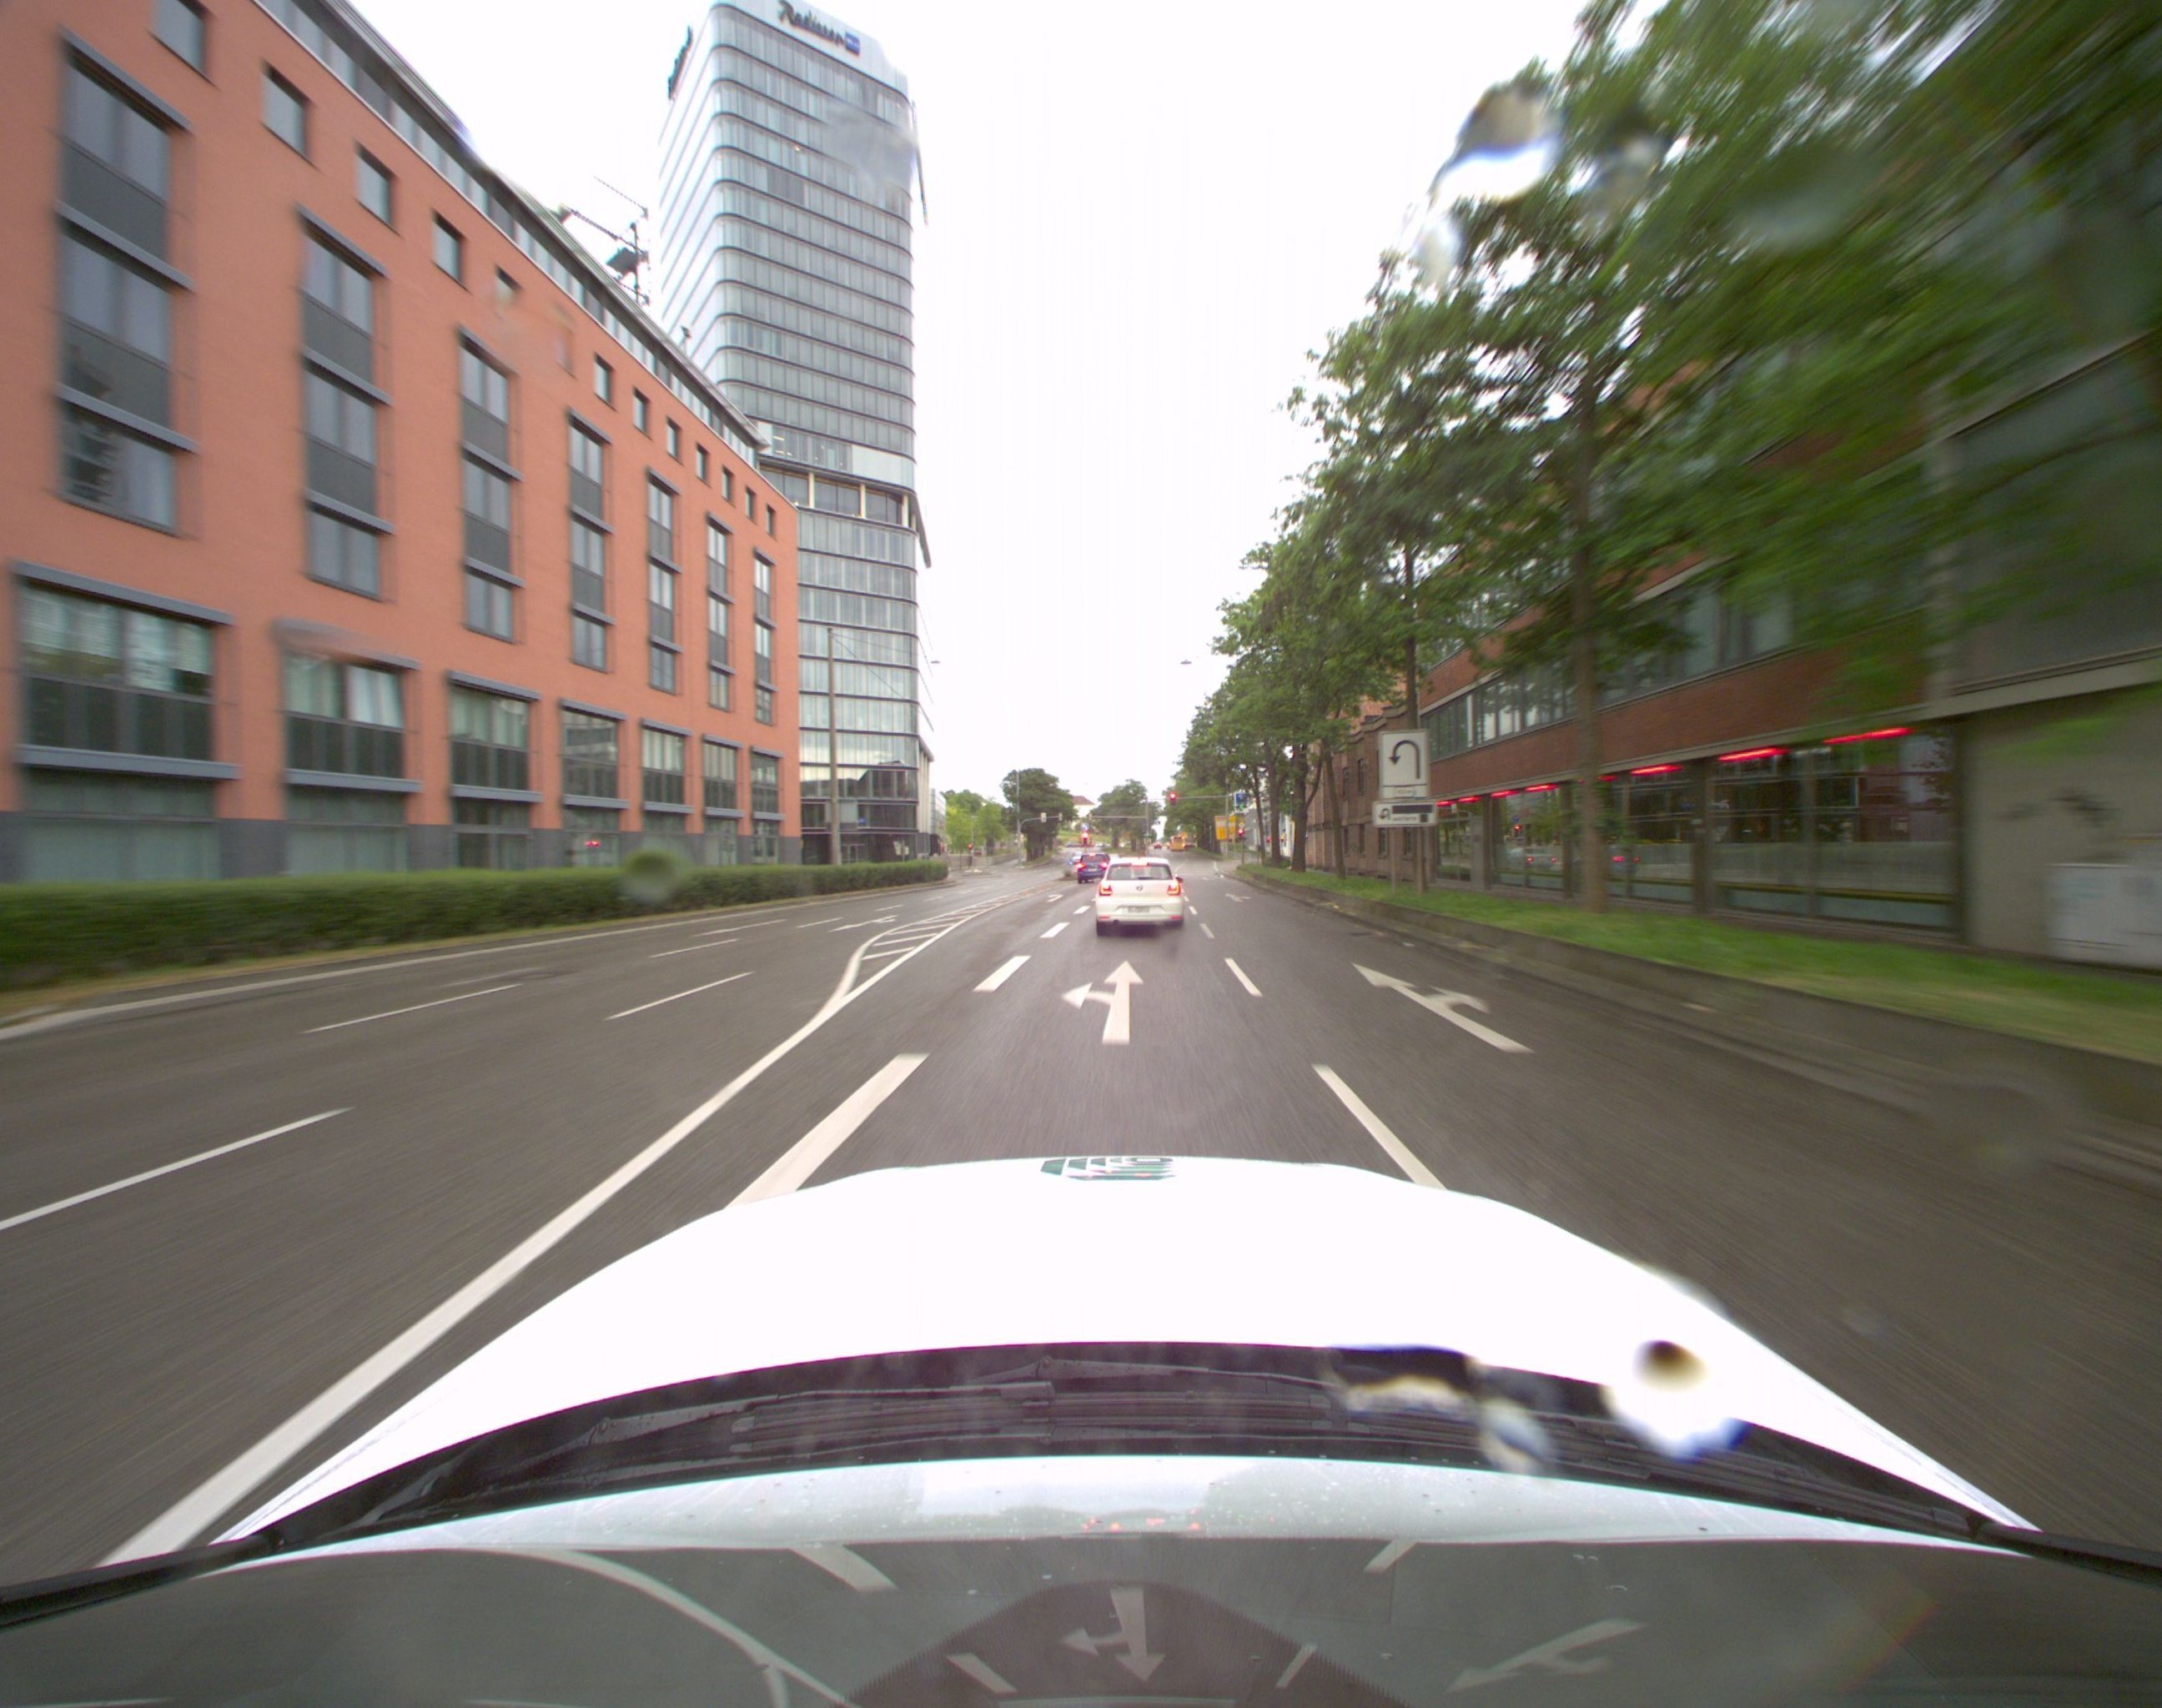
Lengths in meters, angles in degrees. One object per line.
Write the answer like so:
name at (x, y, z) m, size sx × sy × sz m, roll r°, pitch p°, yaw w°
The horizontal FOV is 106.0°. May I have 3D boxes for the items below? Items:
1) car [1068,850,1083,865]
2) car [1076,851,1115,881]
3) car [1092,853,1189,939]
car at (-0.680, 0.473, 102.557) m, size 1.658 × 1.794 × 3.401 m, roll -3°, pitch -2°, yaw 0°
car at (0.859, 0.645, 45.110) m, size 1.985 × 1.574 × 4.003 m, roll -1°, pitch 0°, yaw 3°
car at (1.130, 0.728, 16.026) m, size 1.664 × 1.474 × 3.782 m, roll -1°, pitch 0°, yaw 3°
